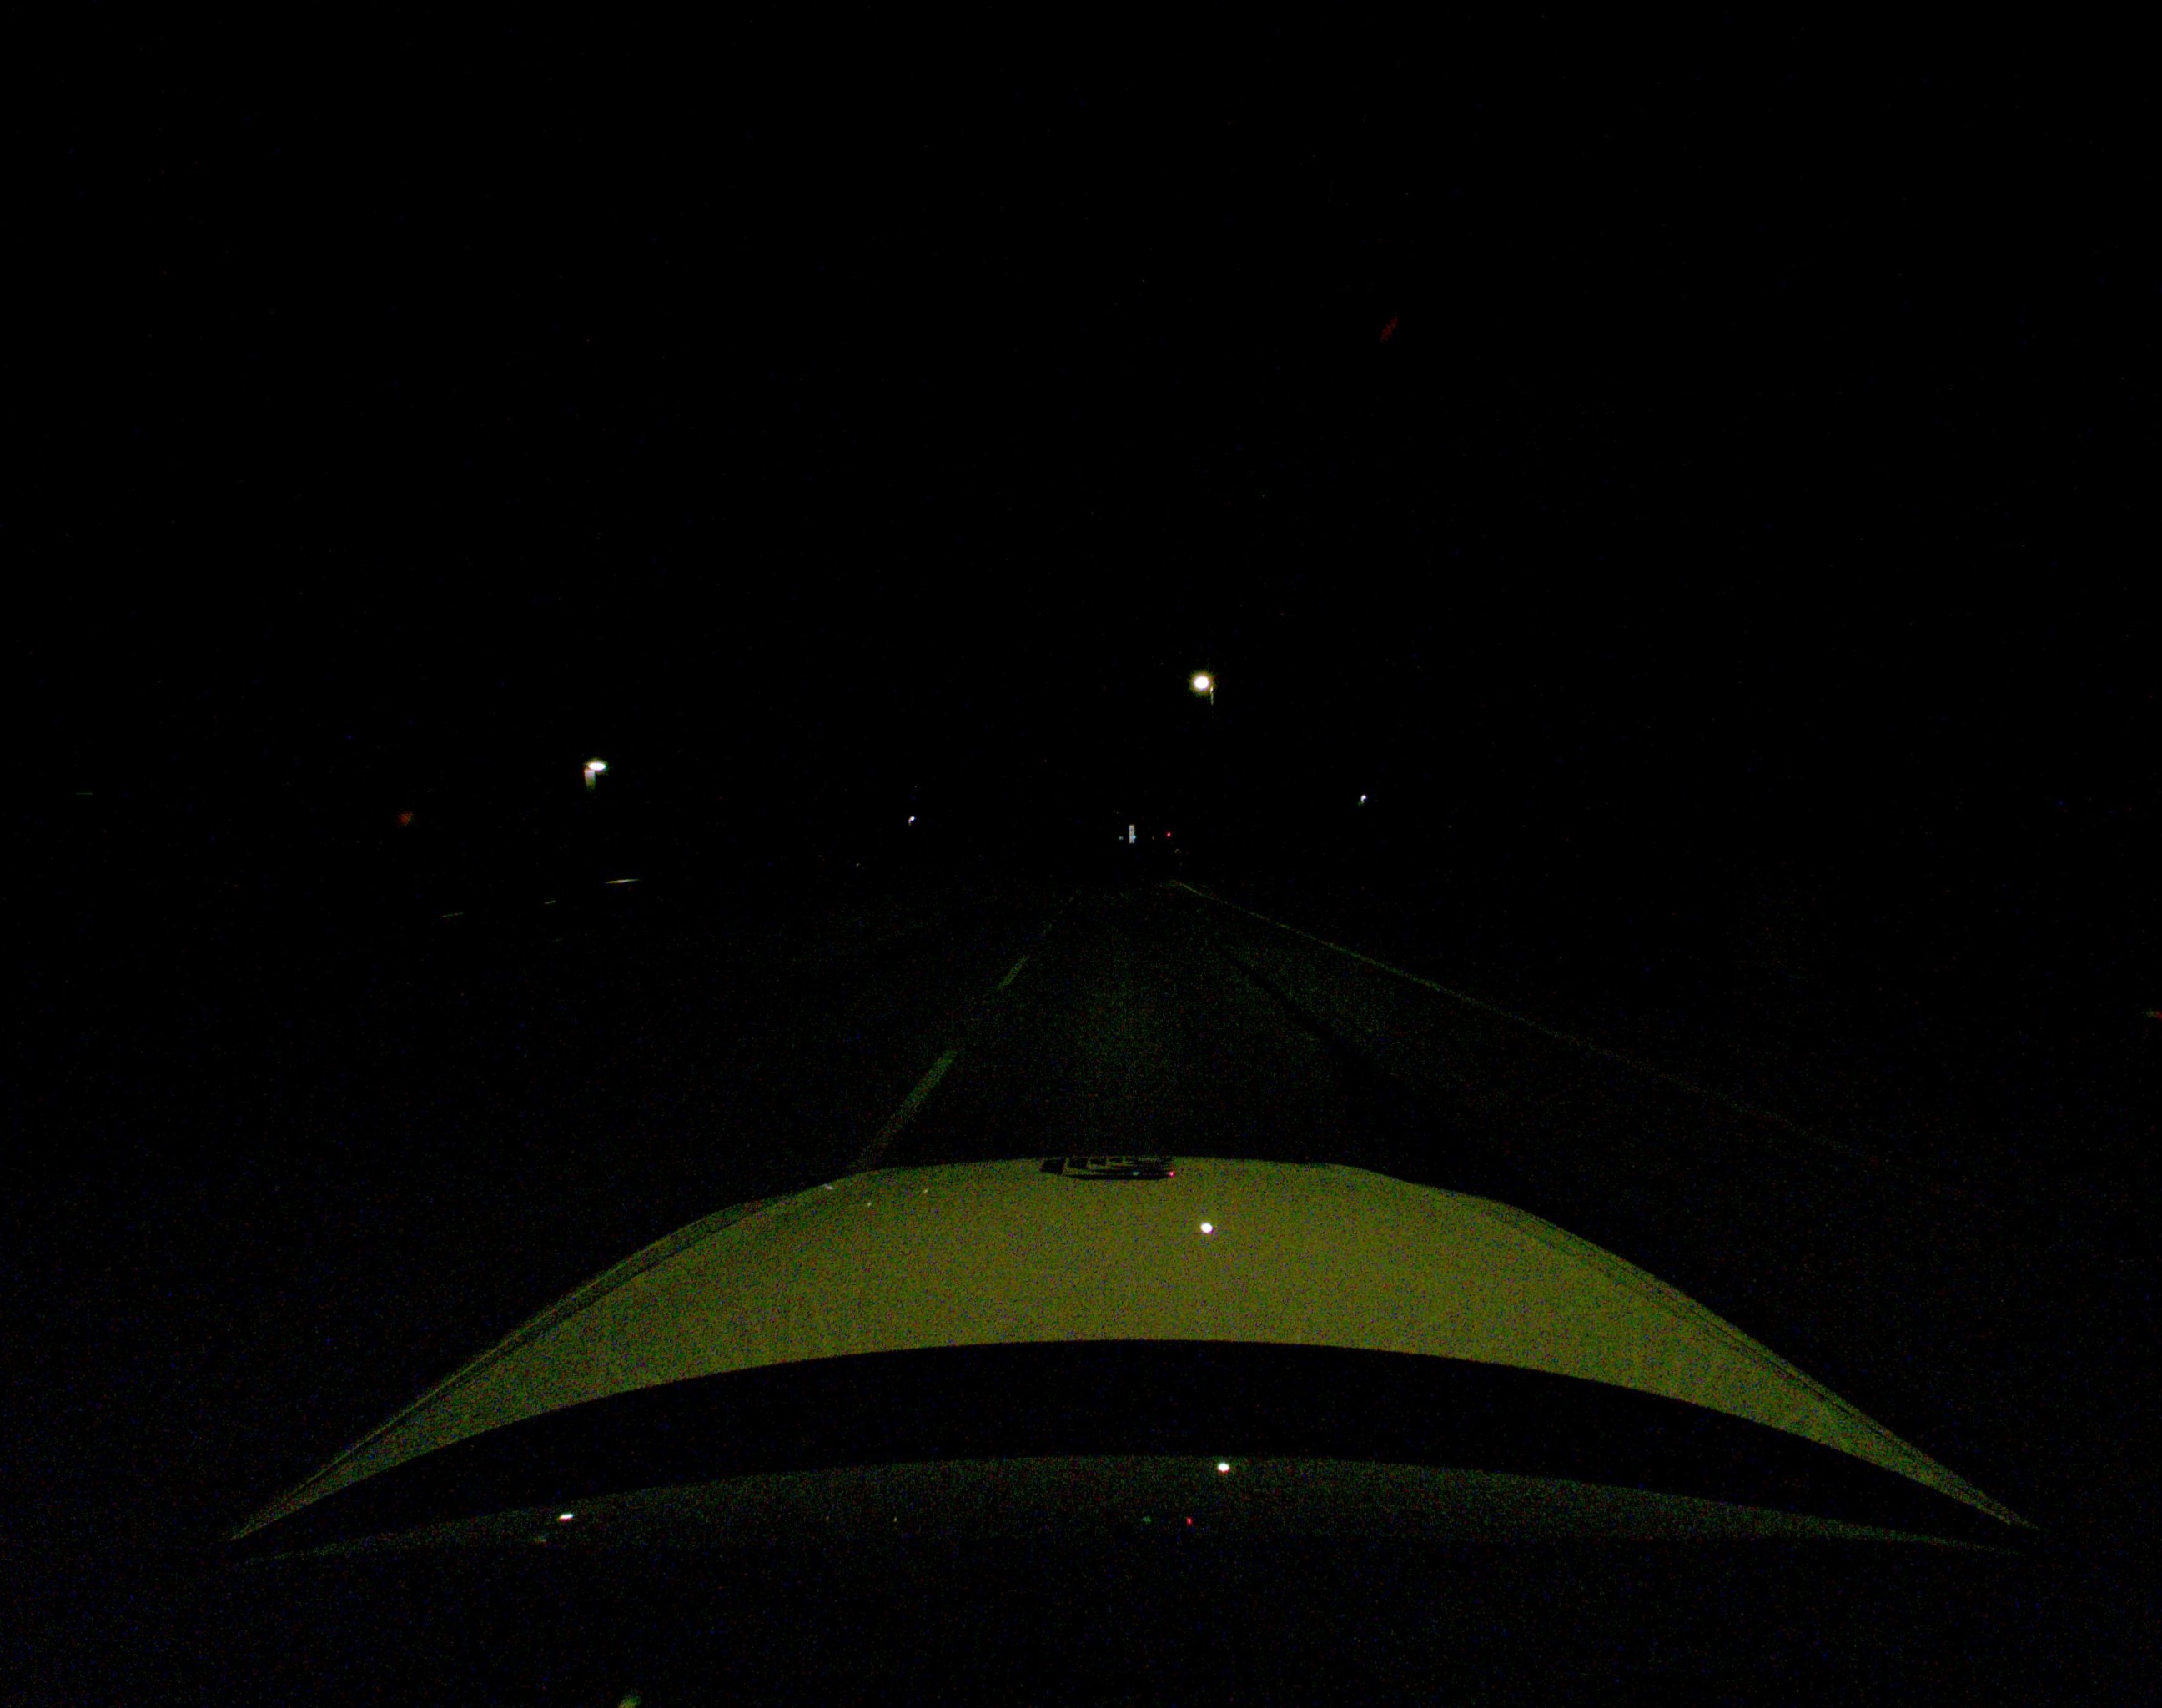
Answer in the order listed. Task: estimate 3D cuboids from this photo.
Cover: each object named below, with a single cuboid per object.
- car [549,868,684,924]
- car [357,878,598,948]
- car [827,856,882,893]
[{"bbox_3d":[-14.939,1.294,26.470,1.987,1.530,4.000,-3,0,1],"label":"car"},{"bbox_3d":[-14.974,1.381,20.741,1.987,1.338,5.432,-3,0,1],"label":"car"},{"bbox_3d":[-14.160,1.259,51.237,2.085,2.013,4.000,-7,0,1],"label":"car"}]
